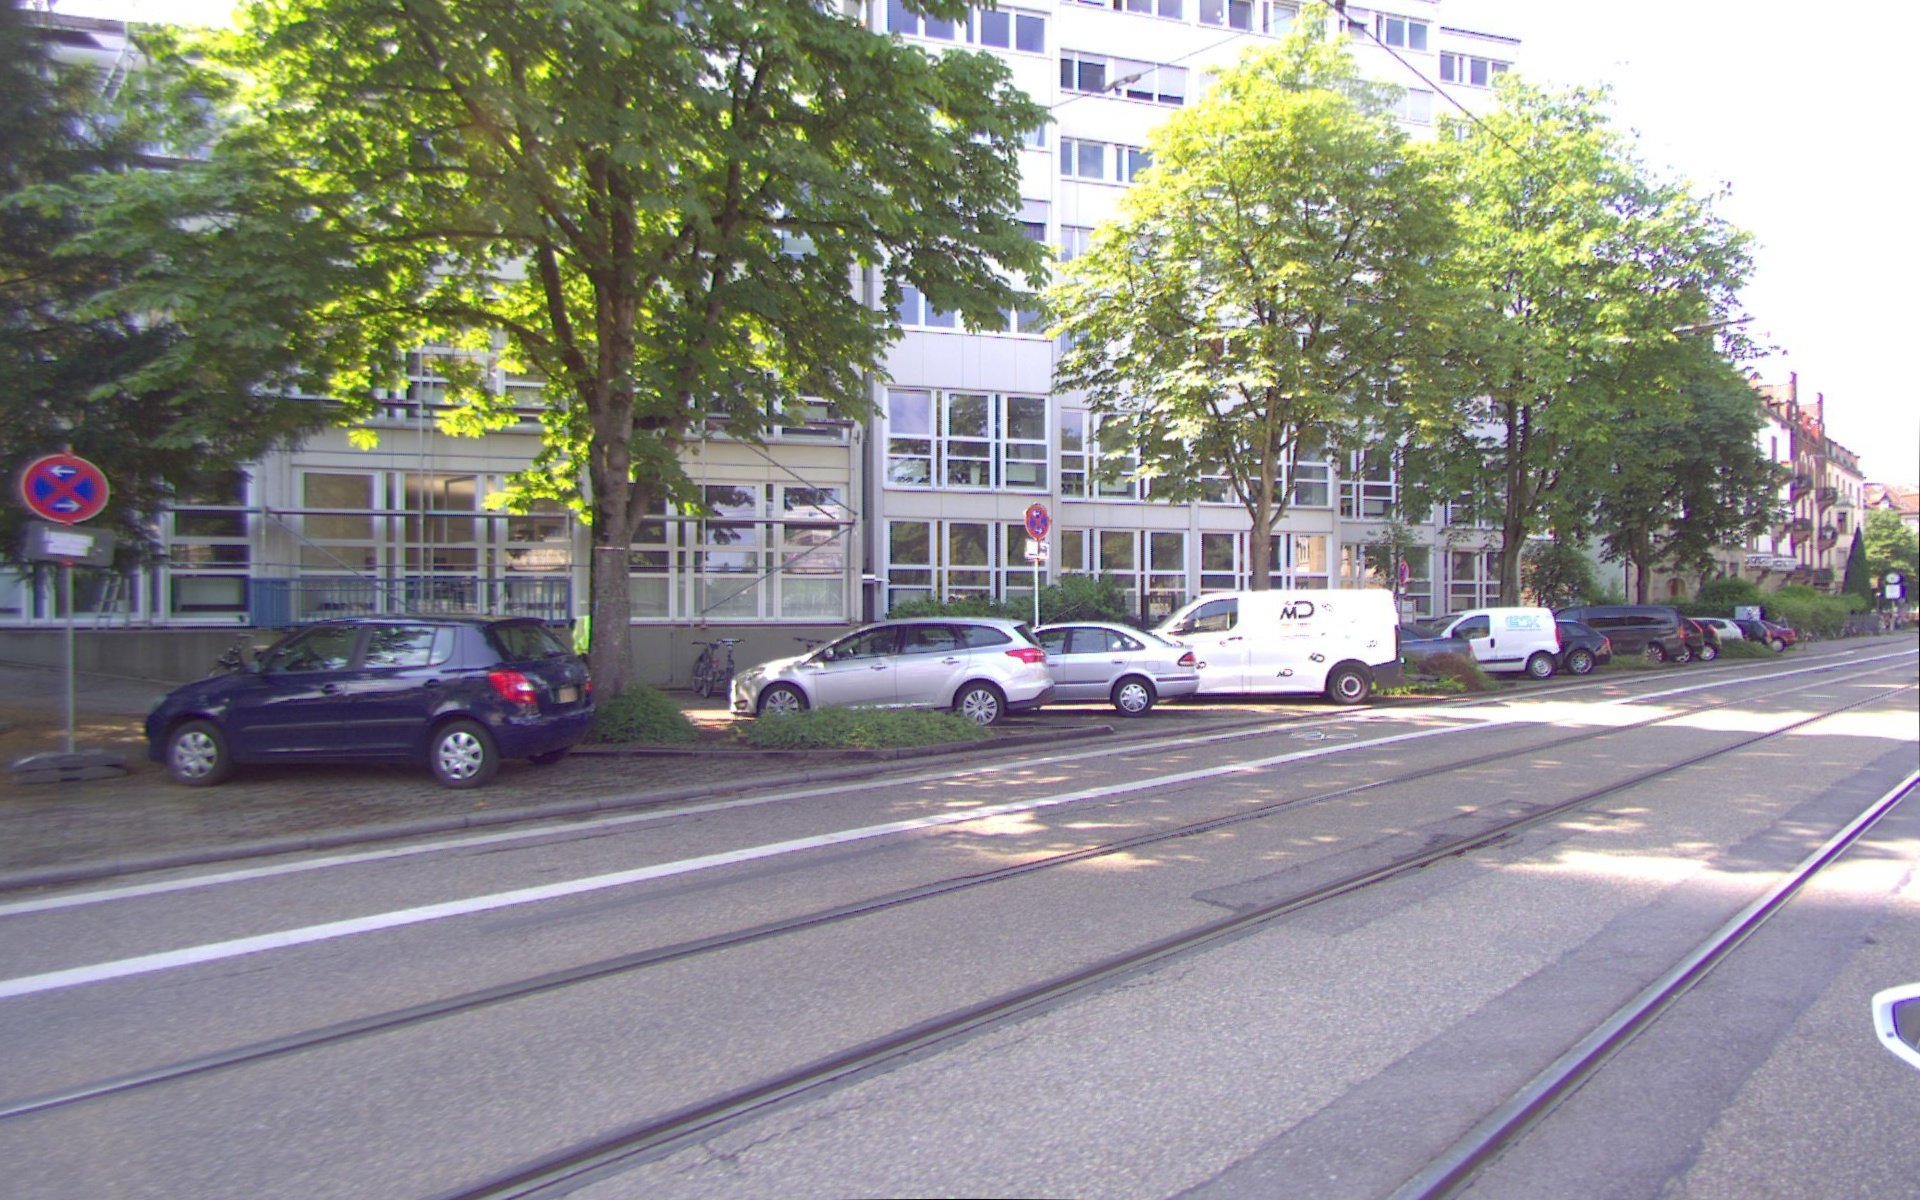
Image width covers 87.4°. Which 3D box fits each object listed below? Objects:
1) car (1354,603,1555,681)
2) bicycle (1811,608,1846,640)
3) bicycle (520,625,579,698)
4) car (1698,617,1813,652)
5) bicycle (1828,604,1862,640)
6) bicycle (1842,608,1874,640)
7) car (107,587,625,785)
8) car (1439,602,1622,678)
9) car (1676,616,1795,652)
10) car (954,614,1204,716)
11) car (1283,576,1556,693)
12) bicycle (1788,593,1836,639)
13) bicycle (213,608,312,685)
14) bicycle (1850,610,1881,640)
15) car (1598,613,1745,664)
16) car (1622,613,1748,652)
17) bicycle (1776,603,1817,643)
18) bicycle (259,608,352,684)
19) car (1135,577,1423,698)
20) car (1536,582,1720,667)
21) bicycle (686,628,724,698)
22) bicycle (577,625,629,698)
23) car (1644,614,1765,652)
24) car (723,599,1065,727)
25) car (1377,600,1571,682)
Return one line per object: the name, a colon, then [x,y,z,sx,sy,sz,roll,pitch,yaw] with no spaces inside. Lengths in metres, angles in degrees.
car: [10.940,0.908,22.393,3.564,1.520,1.763,3,0,2]
bicycle: [50.375,1.425,58.245,2.261,1.770,0.932,2,1,-35]
bicycle: [-7.047,1.026,17.320,0.488,1.101,2.052,2,1,-11]
car: [36.168,1.562,45.763,3.710,1.324,1.639,3,1,11]
bicycle: [54.349,1.355,61.659,2.474,2.106,0.932,2,1,-35]
bicycle: [56.859,1.530,63.595,2.474,1.944,0.932,2,1,-35]
car: [-5.457,0.716,9.494,3.919,1.482,1.761,3,1,7]
car: [14.941,1.010,26.468,3.683,1.735,1.884,3,1,4]
car: [33.825,1.469,43.911,3.710,1.324,1.639,3,1,11]
car: [1.846,0.980,15.870,3.707,1.495,1.727,0,-1,7]
car: [8.920,0.632,19.874,4.481,2.024,1.905,2,0,8]
bicycle: [46.149,0.894,54.361,3.960,2.350,0.932,2,1,-35]
bicycle: [-11.237,0.713,16.260,0.488,1.101,2.052,2,1,-11]
bicycle: [60.244,1.655,66.835,2.474,1.944,0.932,2,1,-35]
car: [23.286,1.267,32.986,3.531,1.598,1.635,-1,-1,10]
car: [28.947,1.285,40.216,3.710,1.324,1.639,3,1,11]
bicycle: [43.705,1.195,52.470,2.713,1.996,0.932,2,1,-35]
bicycle: [-10.632,0.708,16.386,0.488,1.101,2.052,2,1,-11]
car: [5.425,0.655,17.683,4.548,1.937,1.934,-1,-1,8]
car: [20.365,0.716,30.776,4.121,2.109,1.884,5,3,4]
bicycle: [-4.606,1.108,18.211,0.488,1.101,2.052,2,1,-11]
bicycle: [-6.218,1.040,17.566,0.488,1.101,2.052,2,1,-11]
car: [31.180,1.365,42.163,3.710,1.324,1.639,3,1,11]
car: [-0.821,0.806,13.815,4.372,1.445,1.741,3,0,3]
car: [12.395,0.958,24.415,3.683,1.735,1.884,3,1,4]
